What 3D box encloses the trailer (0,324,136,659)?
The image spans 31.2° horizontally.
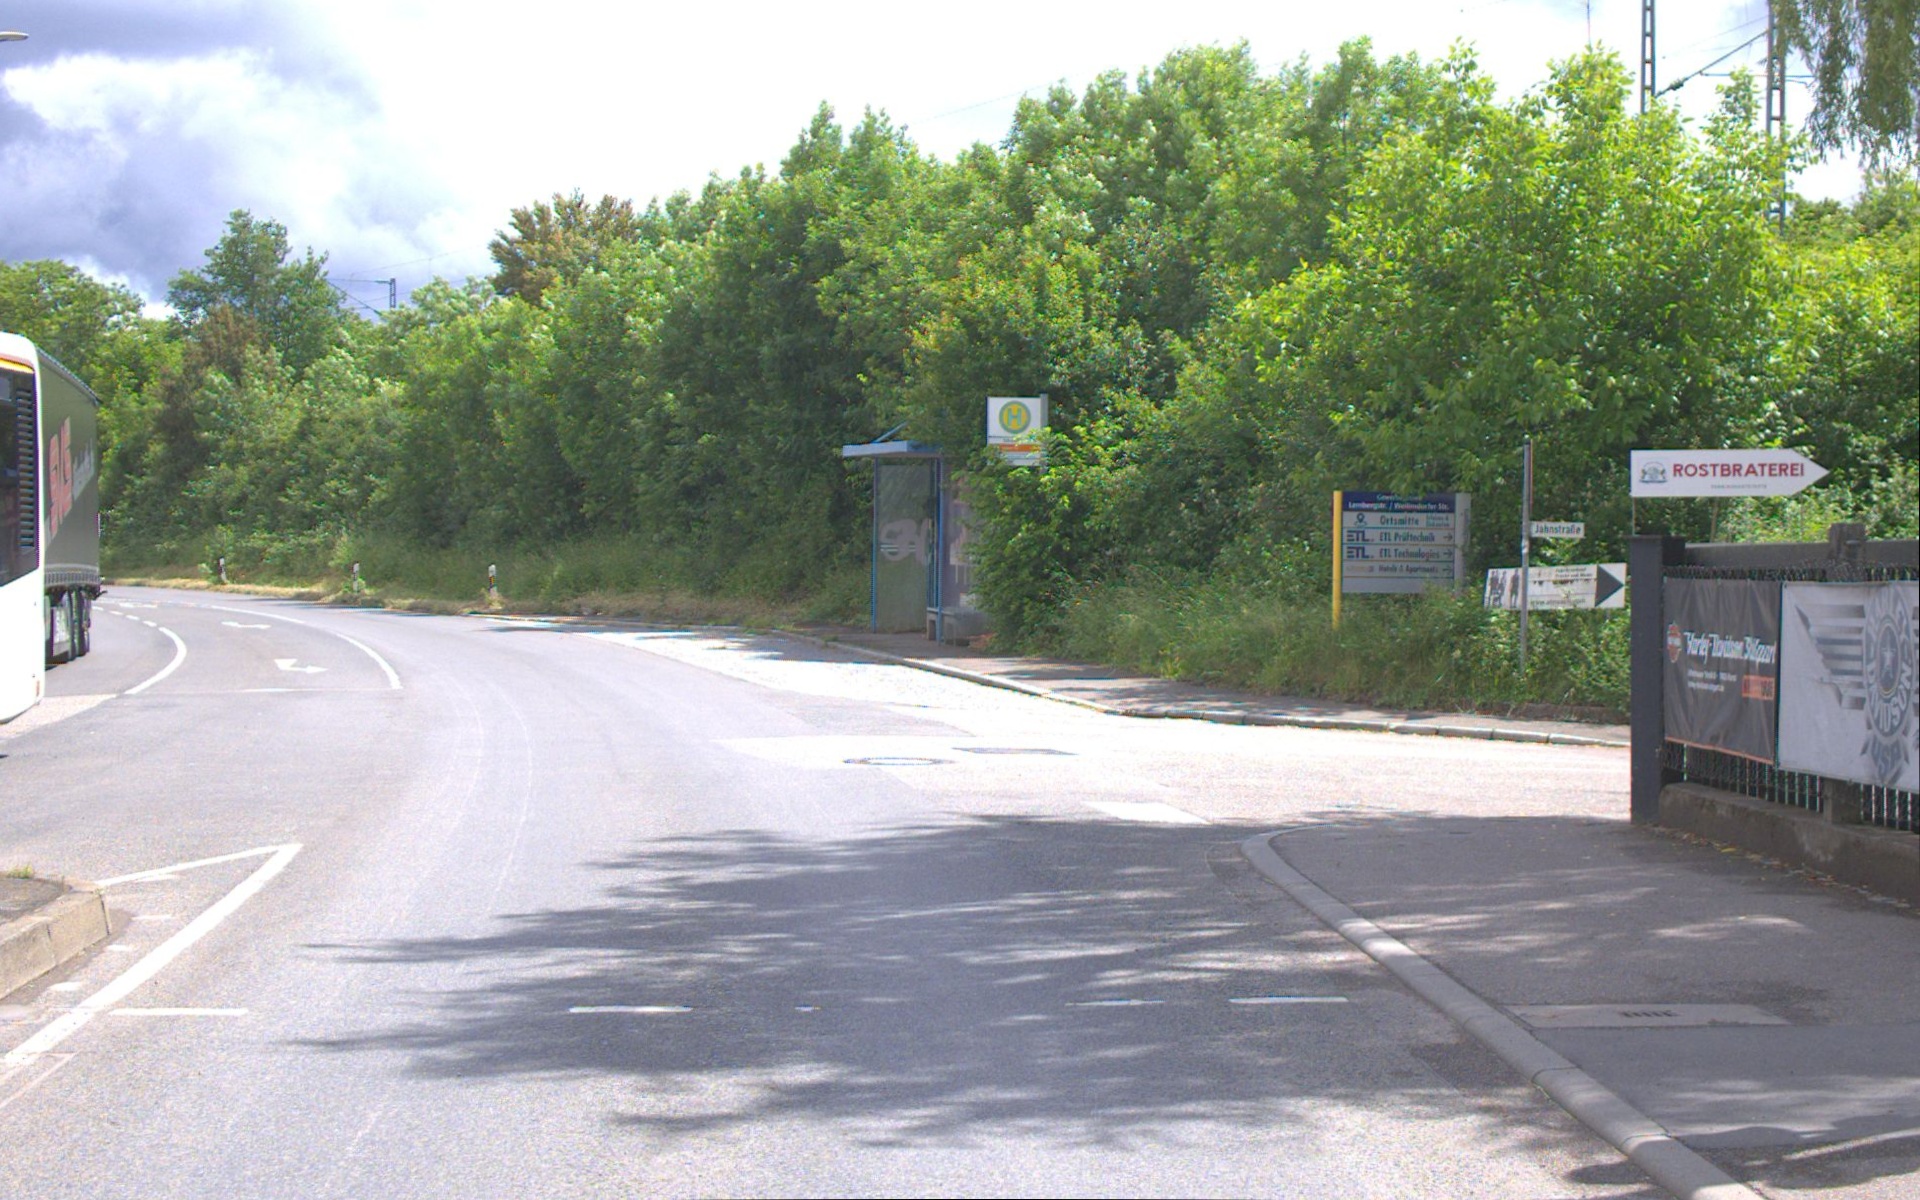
[{"bbox_3d":[-13.679,-1.420,49.087,2.798,4.039,15.560,1,1,-10],"label":"trailer"}]

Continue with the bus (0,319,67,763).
[{"bbox_3d":[-7.845,-0.351,19.057,2.718,3.020,12.266,0,1,-1],"label":"bus"}]

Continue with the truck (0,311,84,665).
[{"bbox_3d":[-12.494,-1.336,42.346,2.798,4.039,6.503,1,1,-10],"label":"truck"}]
